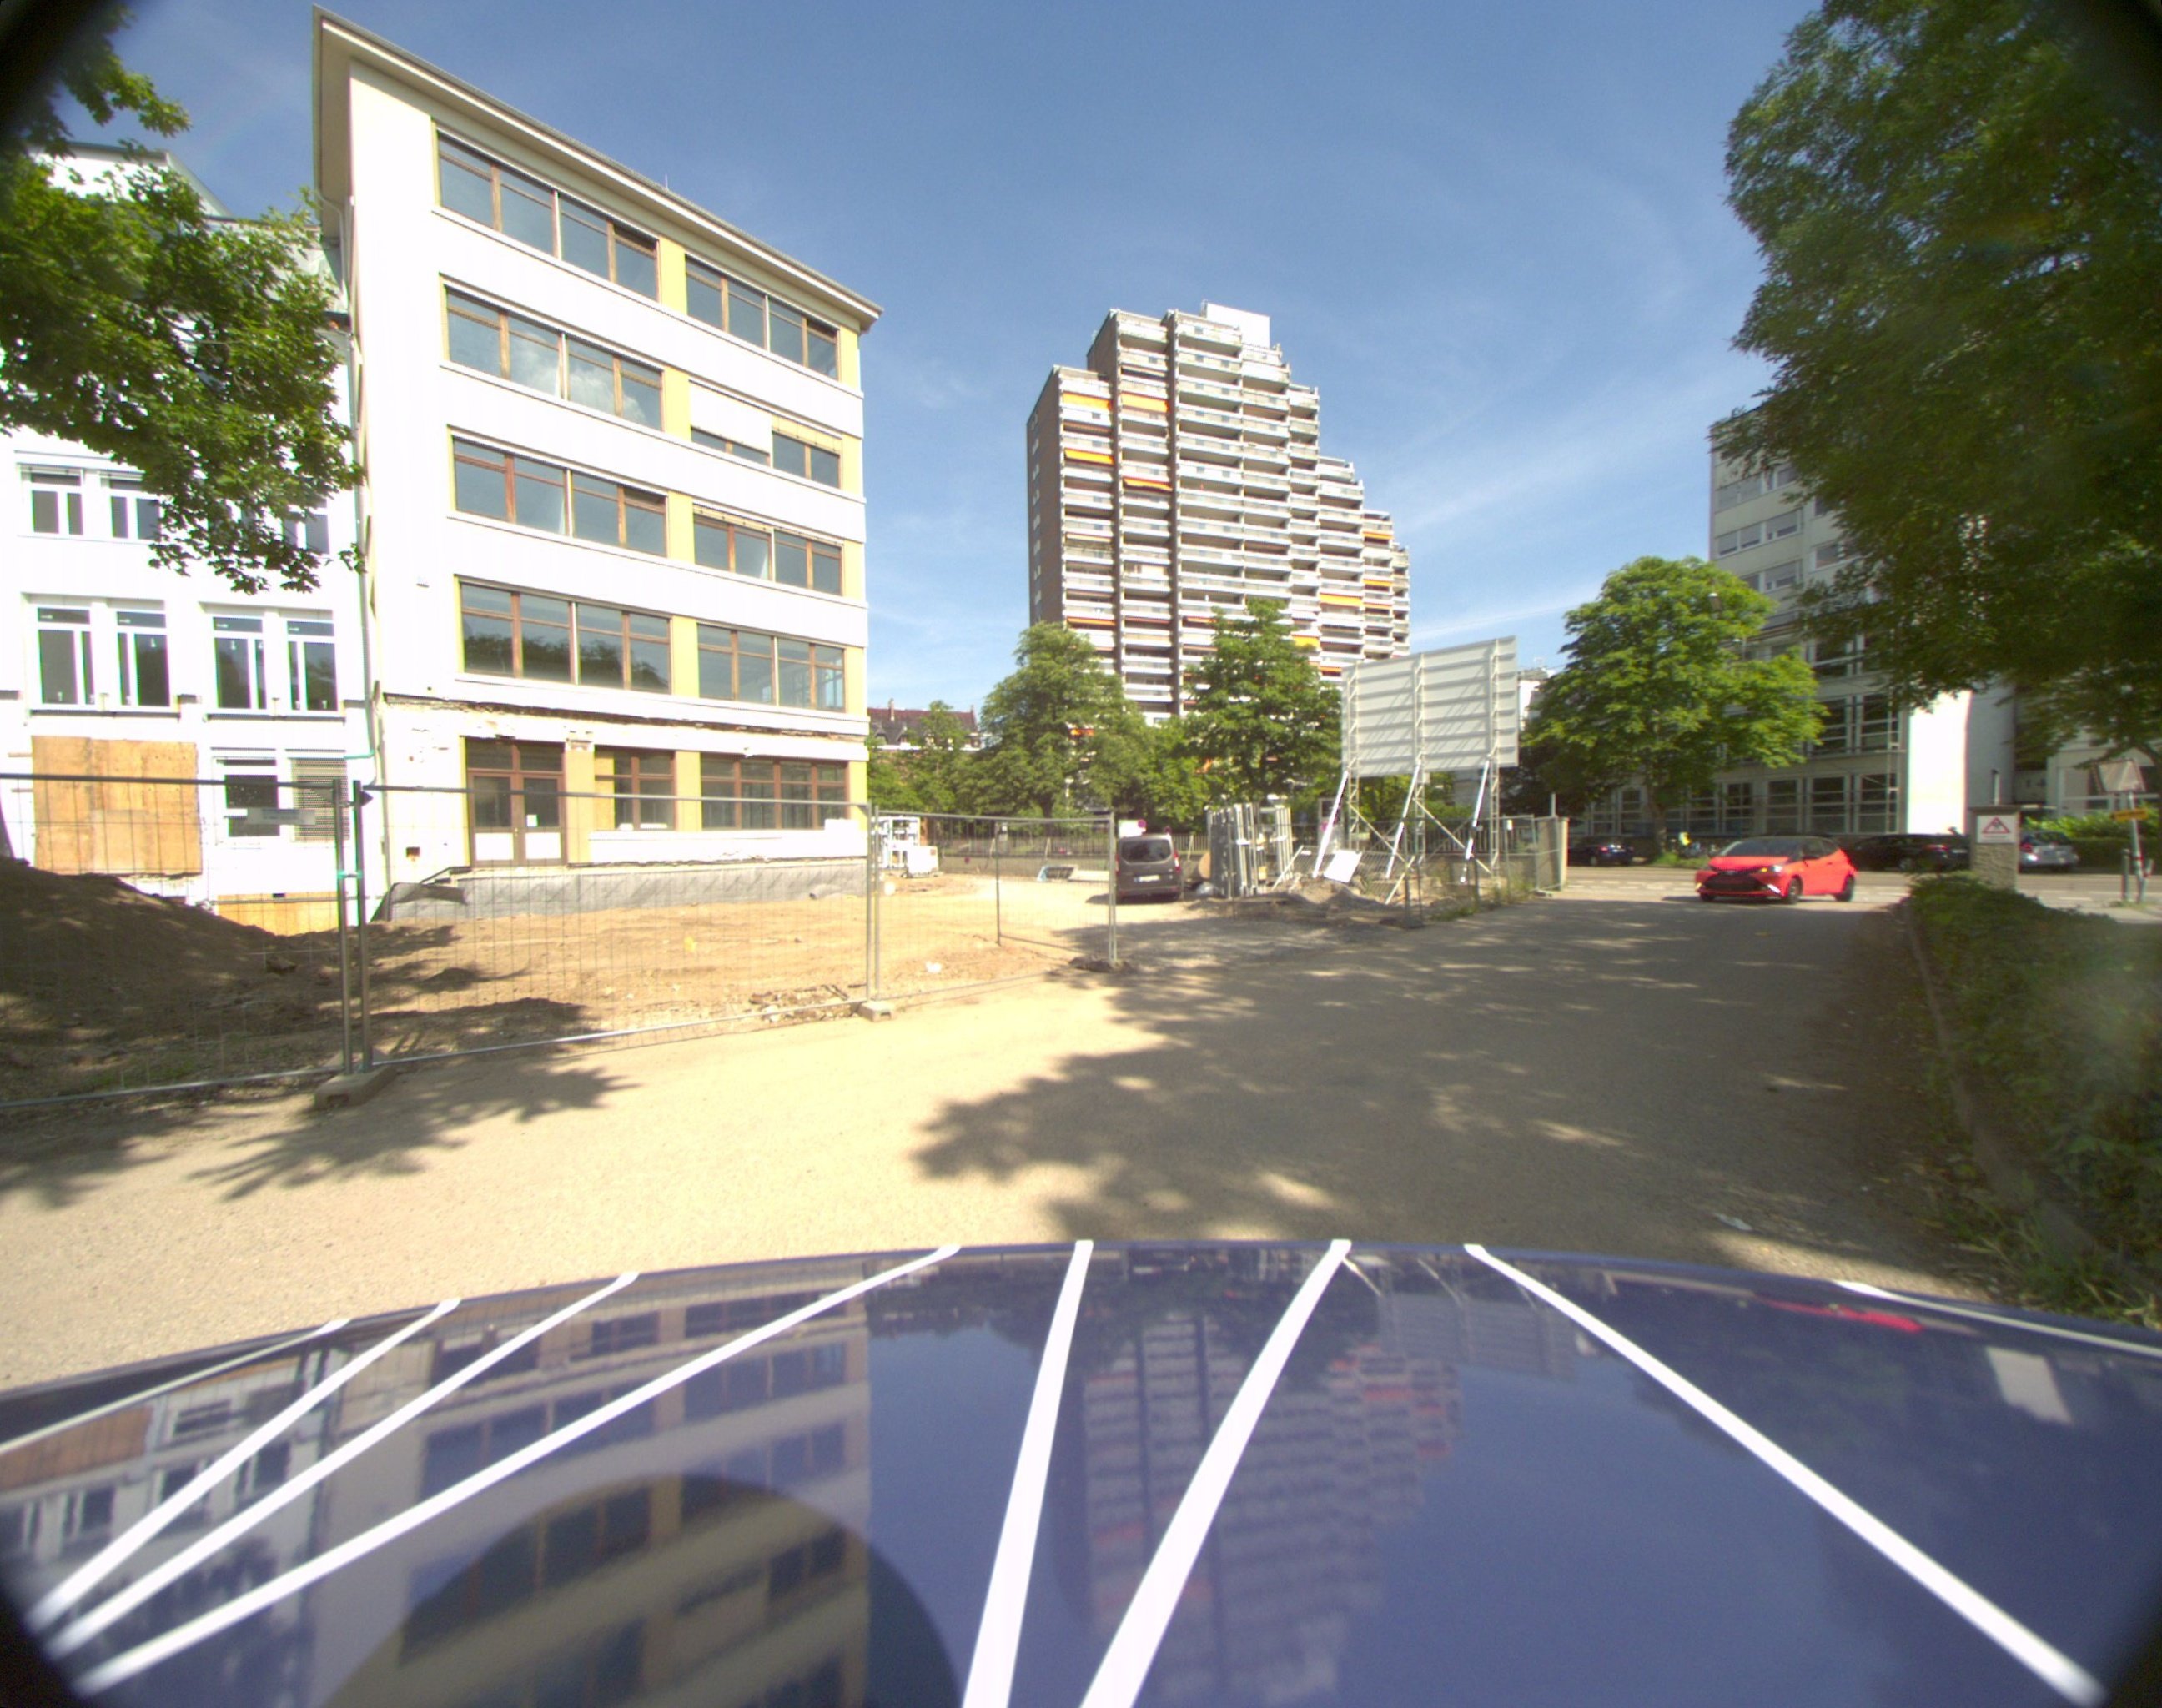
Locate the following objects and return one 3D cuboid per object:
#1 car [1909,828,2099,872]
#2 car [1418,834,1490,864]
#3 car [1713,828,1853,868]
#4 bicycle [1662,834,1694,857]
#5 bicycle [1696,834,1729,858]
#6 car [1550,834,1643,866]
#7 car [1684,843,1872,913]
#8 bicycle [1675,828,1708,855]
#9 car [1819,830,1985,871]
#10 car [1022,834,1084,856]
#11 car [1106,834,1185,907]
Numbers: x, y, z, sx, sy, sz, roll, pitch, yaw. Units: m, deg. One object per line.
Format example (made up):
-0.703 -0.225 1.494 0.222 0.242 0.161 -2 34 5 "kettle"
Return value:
34.007 -0.174 28.217 1.801 1.478 4.339 -1 1 0 "car"
20.103 -0.310 41.127 1.841 1.402 4.145 -2 3 0 "car"
29.488 -0.280 32.119 1.807 1.556 4.389 -1 1 -1 "car"
31.710 -0.458 40.360 2.019 1.193 0.488 -1 2 -25 "bicycle"
32.320 -0.410 38.894 2.019 1.193 0.488 -1 2 -25 "bicycle"
24.702 -0.217 36.575 1.653 1.443 3.998 -1 1 -2 "car"
15.505 0.459 16.879 4.181 1.404 1.659 -1 1 -26 "car"
32.032 -0.669 39.850 2.019 1.370 0.488 -1 2 -25 "bicycle"
31.758 -0.179 29.597 1.800 1.467 4.183 -1 1 -3 "car"
-2.042 -0.607 54.529 1.947 1.513 4.377 -1 1 -44 "car"
1.841 0.356 21.286 1.919 1.770 4.313 -2 1 6 "car"
